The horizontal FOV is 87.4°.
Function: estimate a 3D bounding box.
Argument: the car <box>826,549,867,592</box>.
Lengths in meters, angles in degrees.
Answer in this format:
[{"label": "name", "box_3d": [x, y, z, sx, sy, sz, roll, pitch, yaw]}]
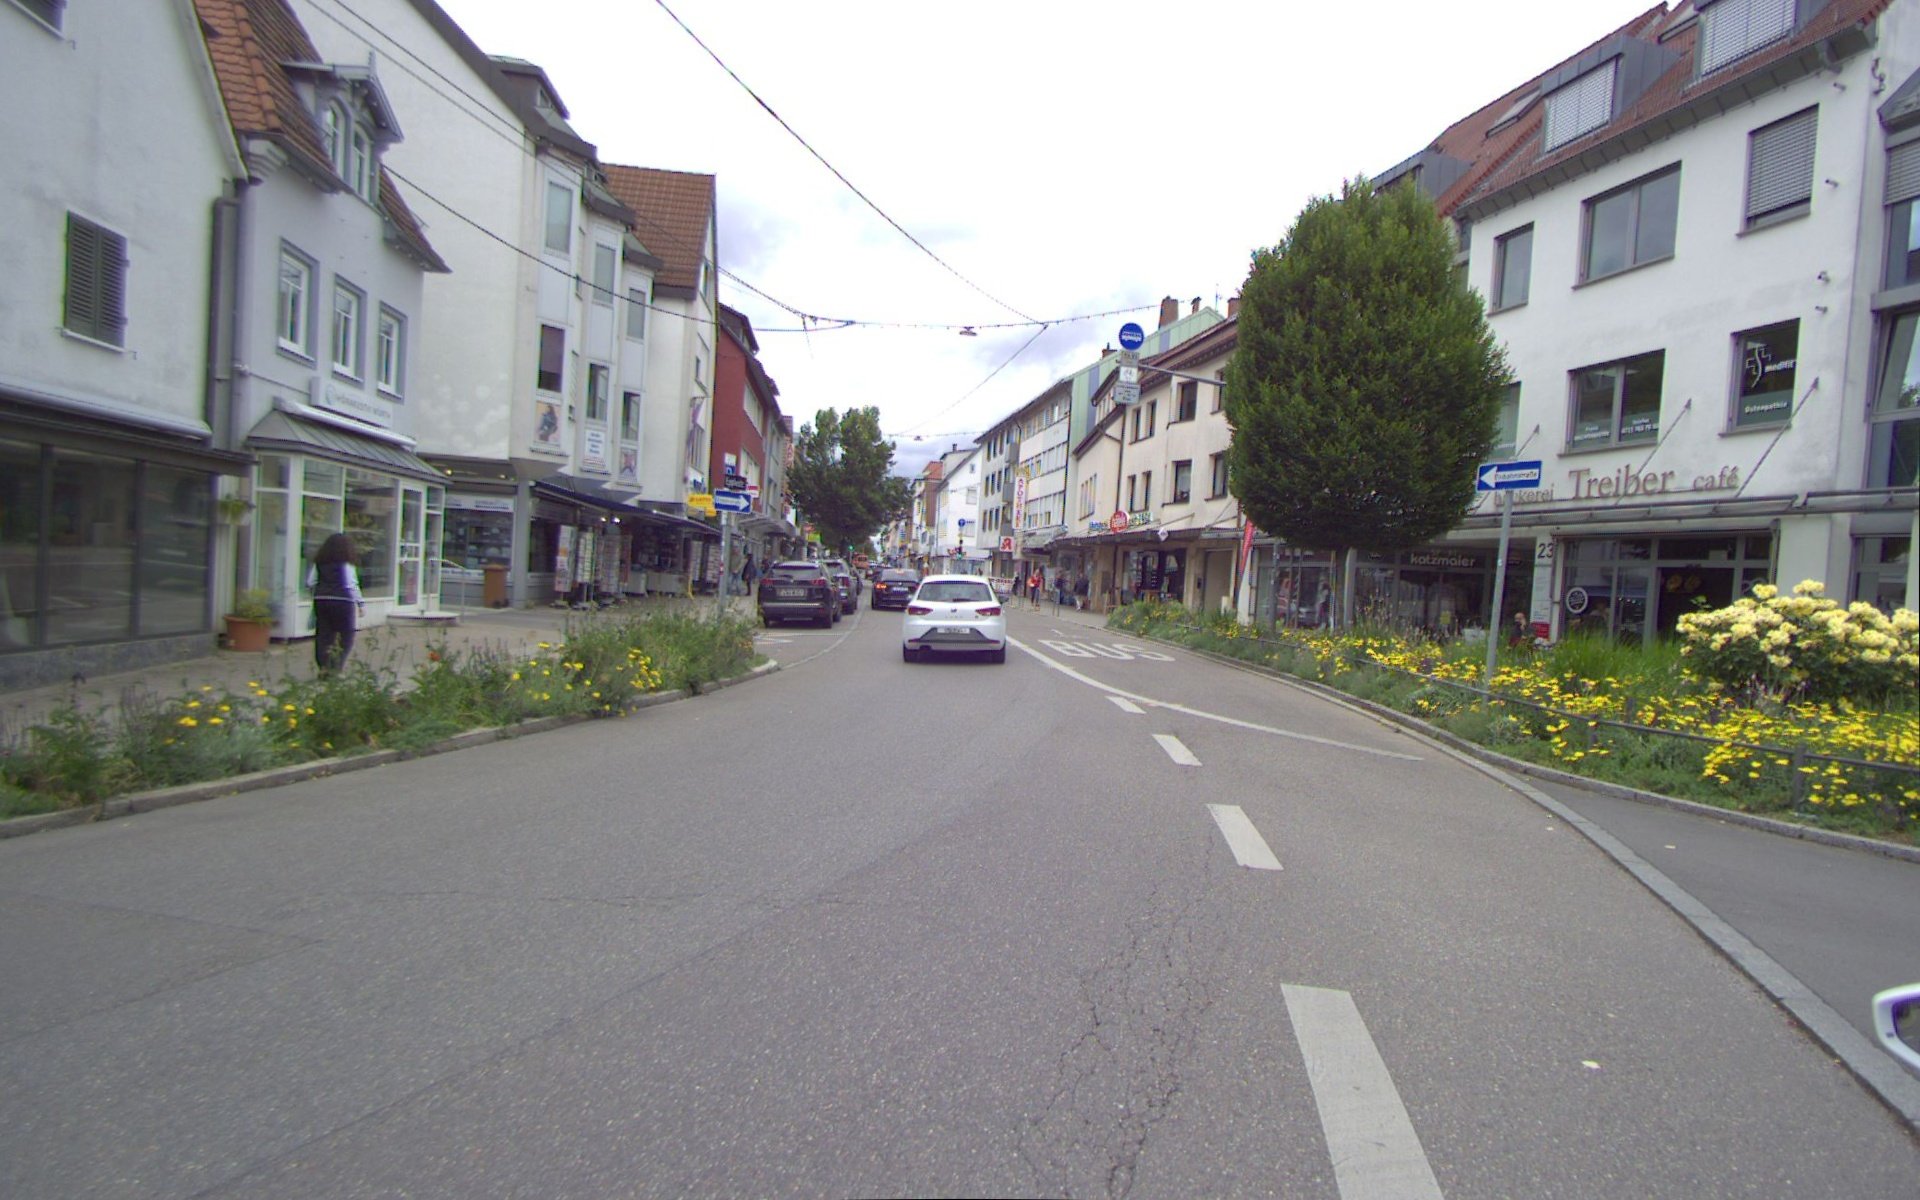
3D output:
[{"label": "car", "box_3d": [-4.849, -1.268, 43.193, 1.547, 1.644, 3.996, 3, 2, -5]}]

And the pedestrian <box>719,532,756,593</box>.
[{"label": "pedestrian", "box_3d": [-7.814, -1.321, 35.348, 1.085, 2.041, 1.012, 3, 3, -7]}]

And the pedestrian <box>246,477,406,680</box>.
[{"label": "pedestrian", "box_3d": [-6.834, -0.238, 10.897, 1.085, 2.041, 1.012, 3, 3, -6]}]

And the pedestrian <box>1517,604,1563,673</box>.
[{"label": "pedestrian", "box_3d": [11.312, 0.745, 19.595, 0.493, 1.288, 0.490, 3, 2, -14]}]

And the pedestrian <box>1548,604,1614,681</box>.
[{"label": "pedestrian", "box_3d": [11.501, 0.781, 18.614, 0.752, 1.335, 0.566, 5, 2, -14]}]

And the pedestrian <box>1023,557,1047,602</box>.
[{"label": "pedestrian", "box_3d": [3.574, -0.973, 47.874, 1.009, 2.040, 0.896, 3, 2, 5]}]

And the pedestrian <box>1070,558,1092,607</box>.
[{"label": "pedestrian", "box_3d": [5.200, -0.756, 43.137, 0.658, 2.040, 0.634, 3, 2, -10]}]

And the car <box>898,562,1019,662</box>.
[{"label": "car", "box_3d": [-0.144, 0.122, 17.968, 1.814, 1.453, 3.996, 2, 3, -4]}]

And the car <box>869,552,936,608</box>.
[{"label": "car", "box_3d": [-2.083, -0.764, 35.244, 2.004, 1.698, 4.367, 3, 3, -7]}]

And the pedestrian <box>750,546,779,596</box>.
[{"label": "pedestrian", "box_3d": [-8.422, -1.263, 43.387, 1.086, 2.041, 1.012, 3, 3, -8]}]

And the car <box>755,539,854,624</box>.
[{"label": "car", "box_3d": [-3.849, -0.498, 25.489, 1.962, 1.879, 3.998, 3, 2, -3]}]

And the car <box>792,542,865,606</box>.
[{"label": "car", "box_3d": [-4.070, -0.832, 31.736, 1.962, 1.755, 4.423, 3, 2, -5]}]
